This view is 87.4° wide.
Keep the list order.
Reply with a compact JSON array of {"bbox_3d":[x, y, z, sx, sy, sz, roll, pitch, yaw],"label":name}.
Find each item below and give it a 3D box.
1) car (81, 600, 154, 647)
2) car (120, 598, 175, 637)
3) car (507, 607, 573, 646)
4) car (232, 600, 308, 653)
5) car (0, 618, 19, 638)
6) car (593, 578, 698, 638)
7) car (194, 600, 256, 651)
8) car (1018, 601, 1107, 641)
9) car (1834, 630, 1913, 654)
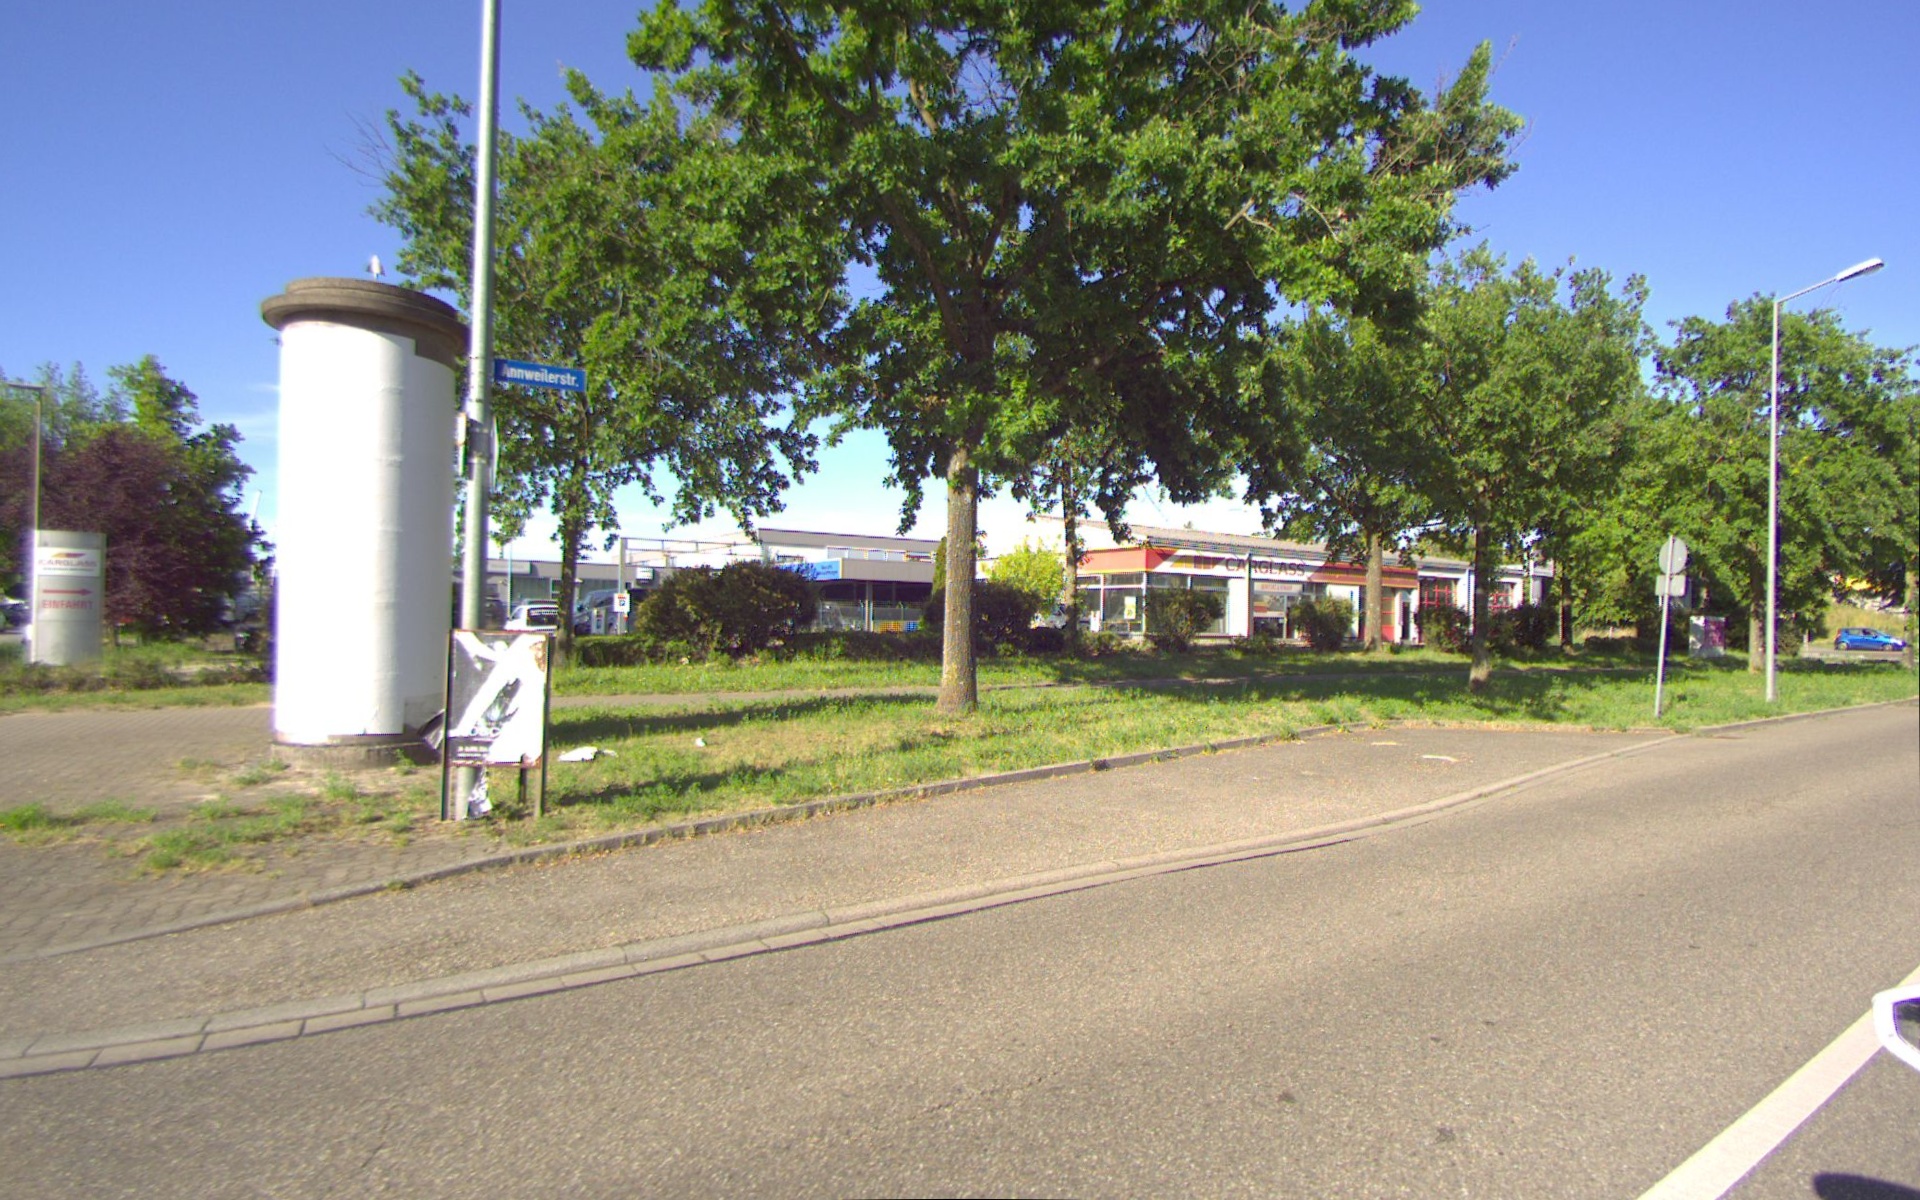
[{"bbox_3d":[-42.816,1.173,51.167,2.278,2.132,5.308,2,0,-35],"label":"car"},{"bbox_3d":[-49.225,1.049,60.951,2.183,2.132,4.896,2,0,-35],"label":"car"},{"bbox_3d":[-15.337,0.926,36.610,1.559,1.319,3.500,1,-1,-34],"label":"car"},{"bbox_3d":[-22.171,0.830,32.298,1.867,1.571,4.615,2,-1,-35],"label":"car"},{"bbox_3d":[-56.120,1.596,57.921,1.598,1.120,3.756,2,-1,-25],"label":"car"},{"bbox_3d":[-11.977,0.327,38.002,2.278,2.097,5.373,2,-1,-35],"label":"car"},{"bbox_3d":[-29.258,0.979,40.083,1.867,1.910,4.211,2,-1,-35],"label":"car"},{"bbox_3d":[4.103,0.823,40.727,1.578,1.517,3.570,2,-1,-36],"label":"car"},{"bbox_3d":[62.796,2.869,69.084,1.669,1.403,3.814,2,0,-39],"label":"car"}]
